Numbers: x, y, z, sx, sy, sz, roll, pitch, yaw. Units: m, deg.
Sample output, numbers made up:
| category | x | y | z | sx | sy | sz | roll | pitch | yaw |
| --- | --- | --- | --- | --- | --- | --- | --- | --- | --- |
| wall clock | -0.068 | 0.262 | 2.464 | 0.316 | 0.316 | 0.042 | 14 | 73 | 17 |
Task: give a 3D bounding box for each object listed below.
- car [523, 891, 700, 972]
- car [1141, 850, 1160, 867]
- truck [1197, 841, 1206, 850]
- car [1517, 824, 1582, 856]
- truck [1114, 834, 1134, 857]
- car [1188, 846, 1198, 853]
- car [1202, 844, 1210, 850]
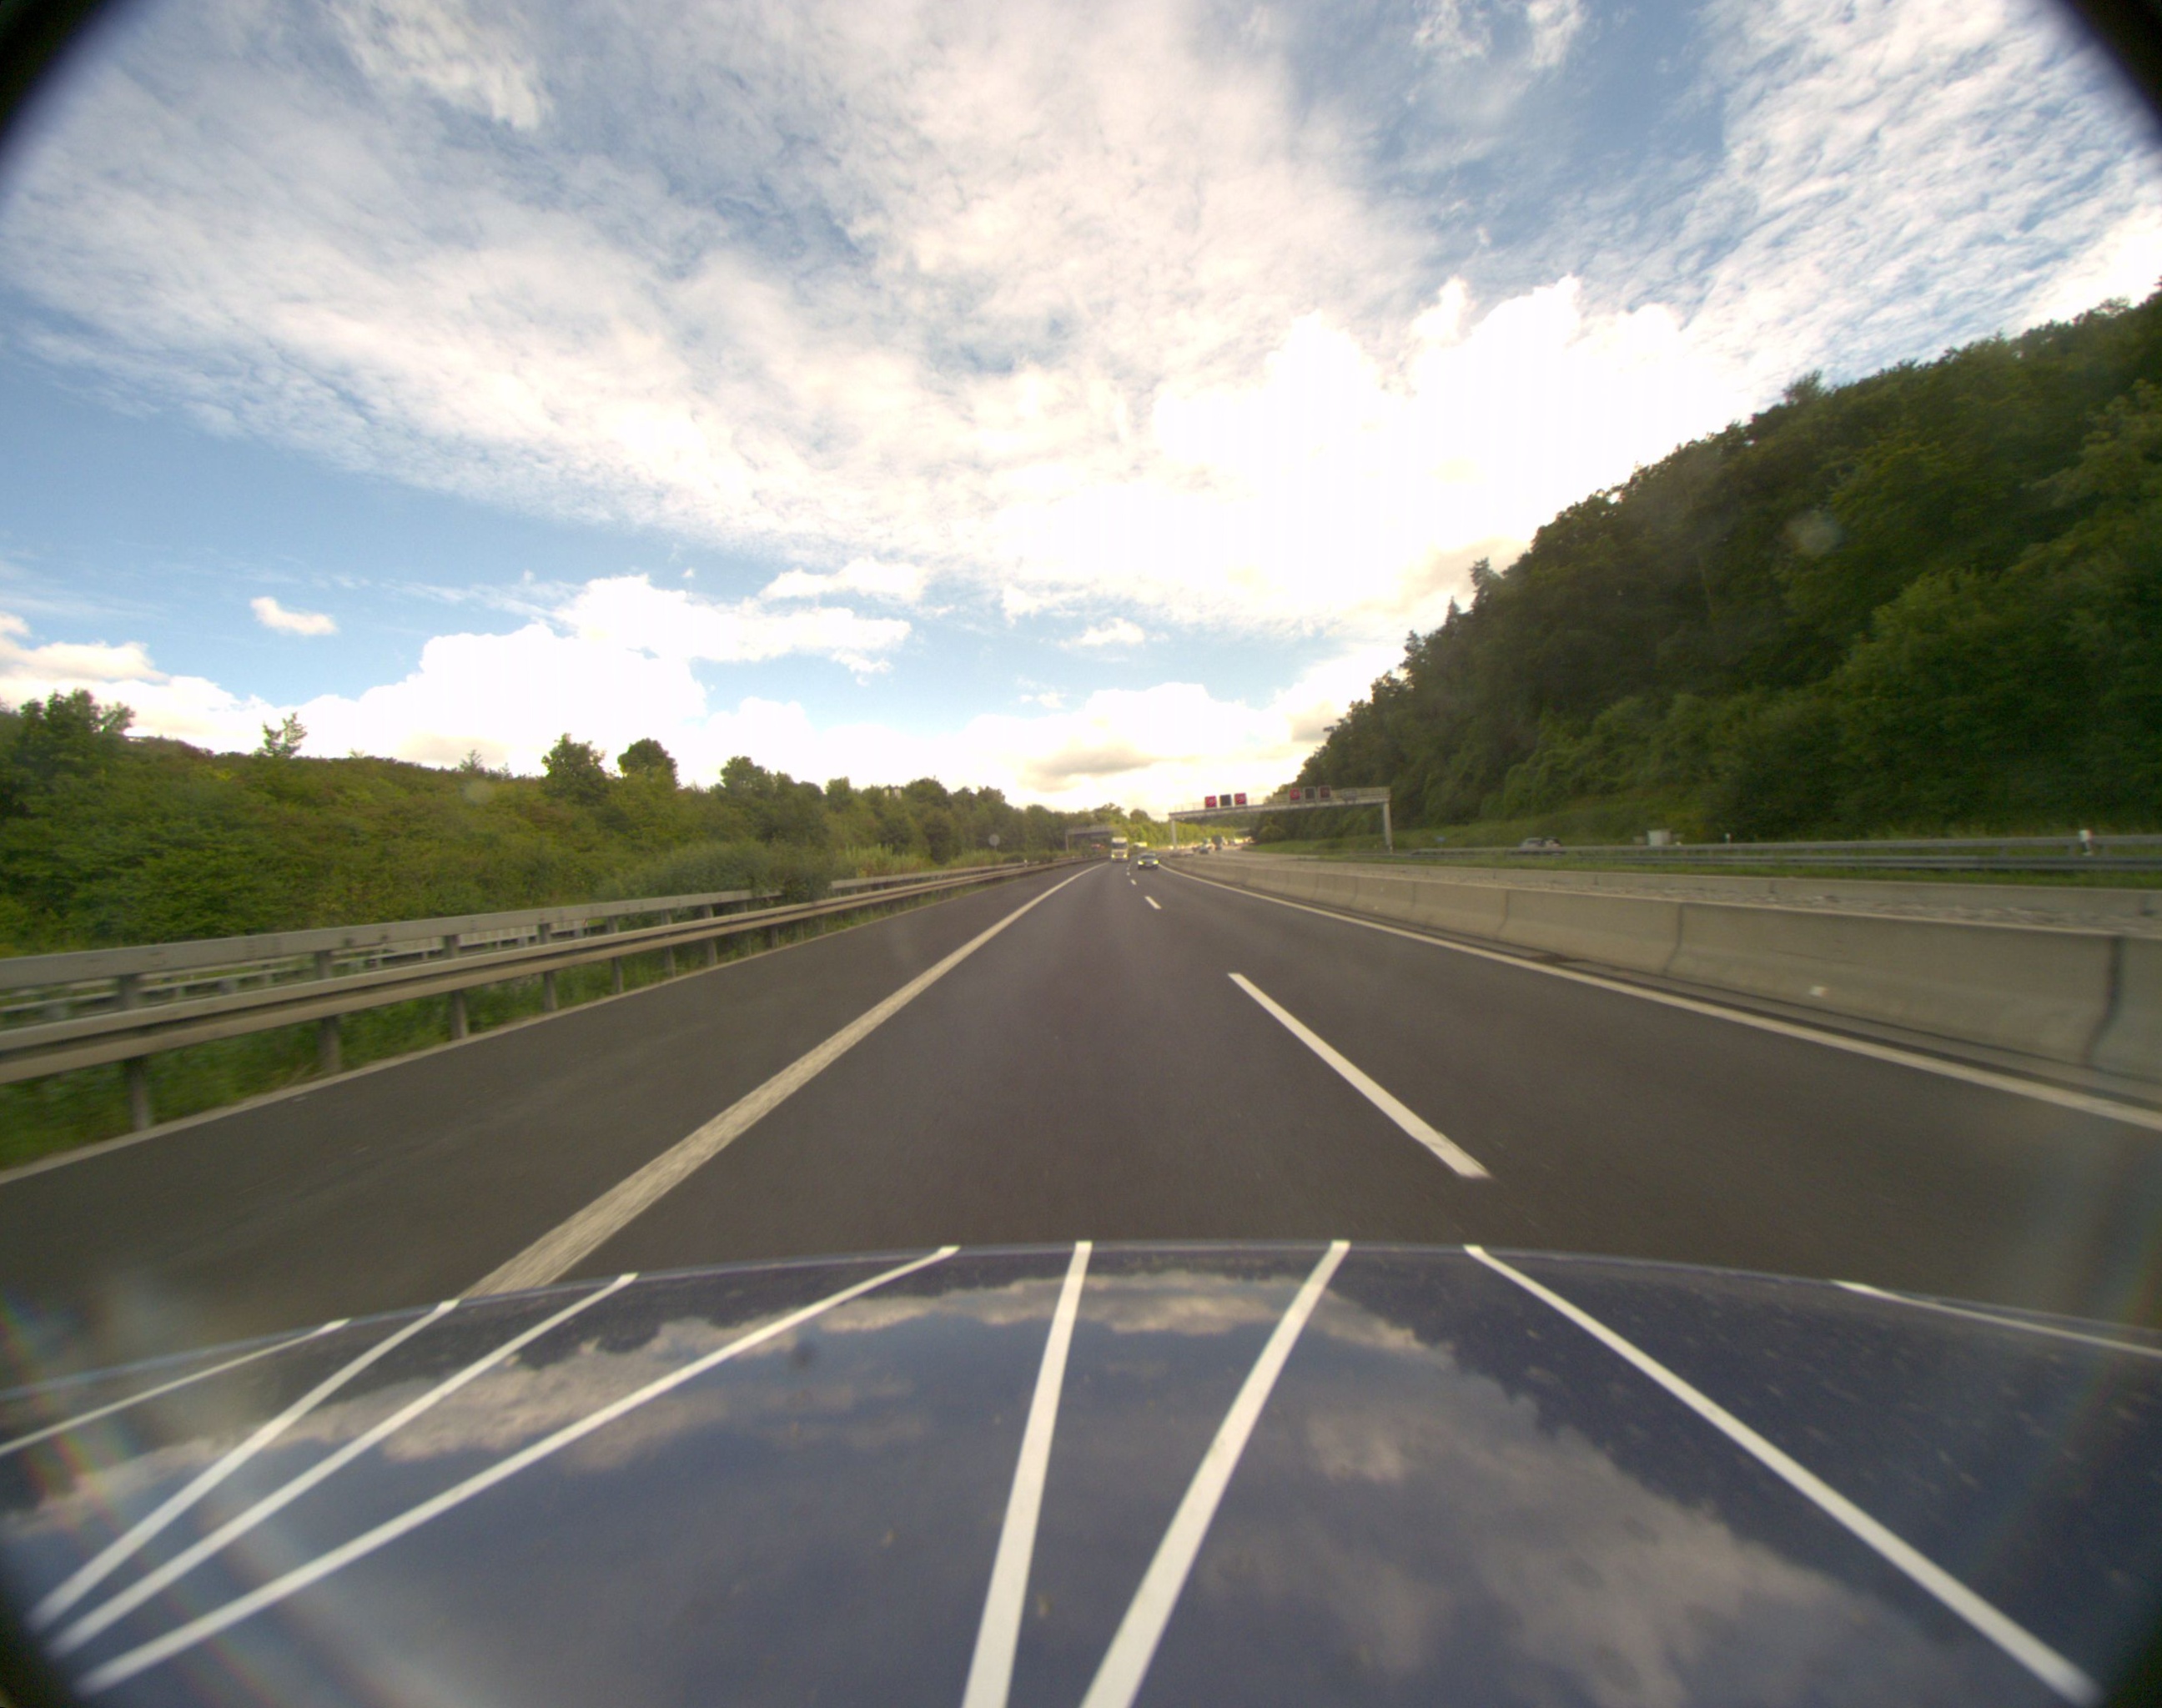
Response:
| category | x | y | z | sx | sy | sz | roll | pitch | yaw |
| --- | --- | --- | --- | --- | --- | --- | --- | --- | --- |
| car | -11.911 | 1.894 | 19.668 | 1.788 | 1.562 | 4.344 | -2 | 0 | 0 |
| car | 6.608 | 0.421 | 72.165 | 1.662 | 1.464 | 4.001 | -2 | 1 | 7 |
| truck | 33.744 | -2.392 | 213.139 | 2.188 | 2.213 | 5.573 | -2 | 1 | 6 |
| car | 31.455 | -0.939 | 51.159 | 1.998 | 2.002 | 4.000 | -3 | 0 | 2 |
| truck | 7.310 | -1.505 | 127.576 | 2.795 | 3.562 | 11.460 | -2 | 1 | 6 |
| car | 24.665 | -1.034 | 167.715 | 1.768 | 1.572 | 4.933 | -3 | 0 | 5 |
| car | 30.528 | -1.627 | 185.429 | 1.669 | 1.387 | 4.602 | -2 | 1 | 6 |
